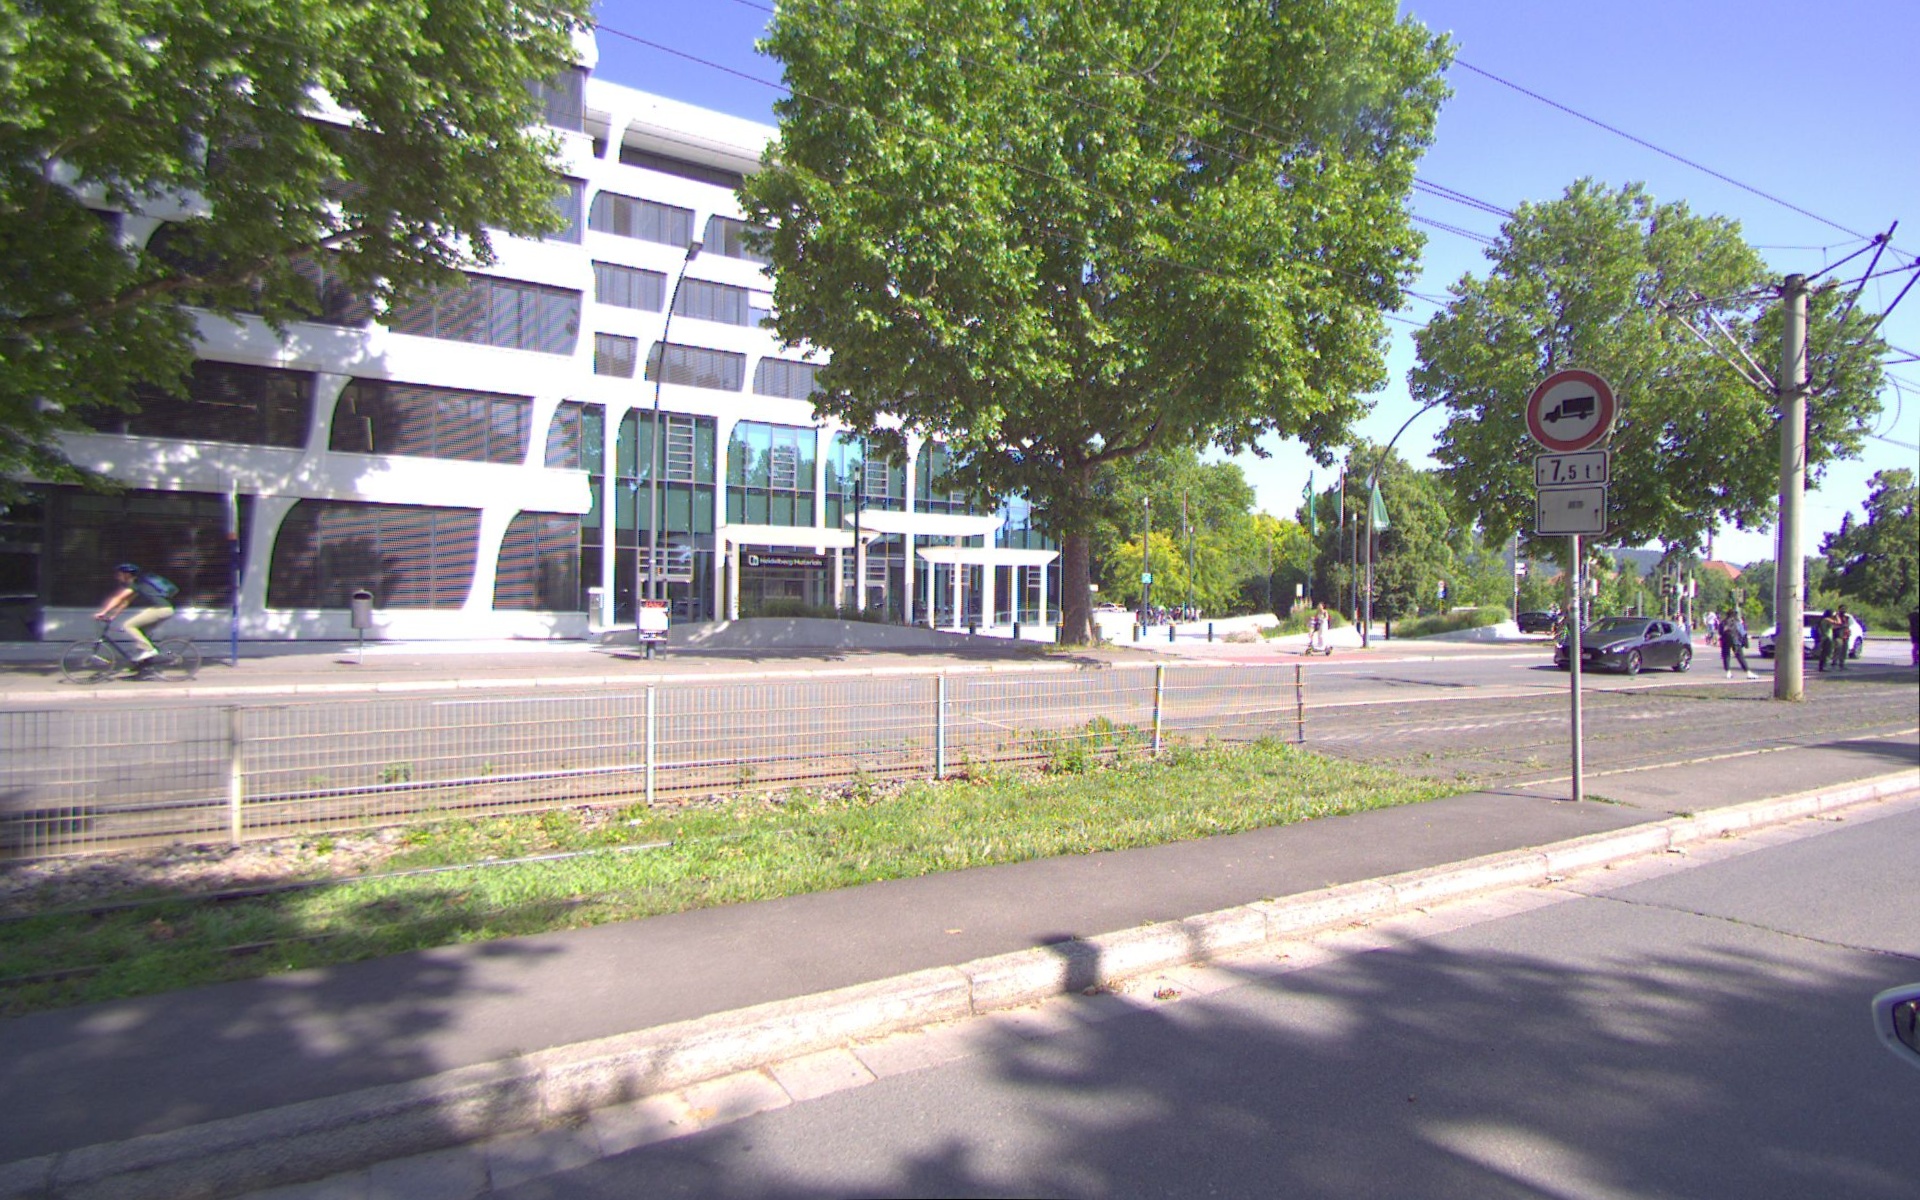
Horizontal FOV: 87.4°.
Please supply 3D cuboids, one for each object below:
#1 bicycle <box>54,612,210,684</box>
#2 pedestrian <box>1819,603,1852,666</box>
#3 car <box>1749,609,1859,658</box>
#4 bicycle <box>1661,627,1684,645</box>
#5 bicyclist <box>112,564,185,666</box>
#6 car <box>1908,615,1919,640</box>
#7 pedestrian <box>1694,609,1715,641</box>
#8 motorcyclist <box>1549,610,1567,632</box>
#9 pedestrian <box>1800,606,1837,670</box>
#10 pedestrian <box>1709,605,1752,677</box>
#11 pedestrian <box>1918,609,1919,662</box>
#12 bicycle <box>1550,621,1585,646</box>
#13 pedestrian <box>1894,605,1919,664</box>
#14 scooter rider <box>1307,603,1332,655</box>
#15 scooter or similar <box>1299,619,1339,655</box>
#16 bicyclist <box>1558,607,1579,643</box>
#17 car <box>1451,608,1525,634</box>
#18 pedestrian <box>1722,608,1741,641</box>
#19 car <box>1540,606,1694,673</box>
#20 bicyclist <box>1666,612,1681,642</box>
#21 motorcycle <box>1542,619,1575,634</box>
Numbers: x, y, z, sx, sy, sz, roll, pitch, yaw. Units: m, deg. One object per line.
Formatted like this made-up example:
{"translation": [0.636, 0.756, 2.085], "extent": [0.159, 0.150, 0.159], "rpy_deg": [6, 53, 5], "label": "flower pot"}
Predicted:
{"translation": [-13.424, 0.756, 16.350], "extent": [1.861, 1.109, 0.664], "rpy_deg": [1, 0, -30], "label": "bicycle"}
{"translation": [23.840, 0.938, 27.350], "extent": [0.636, 1.702, 0.490], "rpy_deg": [1, 0, -30], "label": "pedestrian"}
{"translation": [29.527, 1.143, 35.112], "extent": [3.814, 1.630, 1.755], "rpy_deg": [1, 0, -30], "label": "car"}
{"translation": [31.537, 1.585, 44.452], "extent": [1.132, 0.758, 0.418], "rpy_deg": [1, 0, -30], "label": "bicycle"}
{"translation": [-13.263, 0.239, 16.434], "extent": [0.828, 1.625, 0.572], "rpy_deg": [1, 0, -30], "label": "bicyclist"}
{"translation": [62.108, 1.772, 63.741], "extent": [3.899, 1.539, 1.821], "rpy_deg": [1, 0, -30], "label": "car"}
{"translation": [36.759, 1.239, 49.609], "extent": [0.637, 1.562, 0.619], "rpy_deg": [1, 0, -31], "label": "pedestrian"}
{"translation": [36.637, 1.270, 61.513], "extent": [0.597, 1.332, 0.749], "rpy_deg": [1, 0, -30], "label": "motorcyclist"}
{"translation": [22.935, 1.011, 26.831], "extent": [0.548, 1.668, 0.590], "rpy_deg": [1, 0, -30], "label": "pedestrian"}
{"translation": [18.250, 0.957, 23.801], "extent": [0.747, 1.645, 0.593], "rpy_deg": [1, 0, 35], "label": "pedestrian"}
{"translation": [29.630, 1.094, 30.502], "extent": [0.567, 1.619, 0.537], "rpy_deg": [1, 0, -11], "label": "pedestrian"}
{"translation": [24.171, 1.336, 39.955], "extent": [1.635, 0.974, 0.482], "rpy_deg": [1, 0, -30], "label": "bicycle"}
{"translation": [28.869, 1.023, 30.301], "extent": [0.743, 1.757, 0.773], "rpy_deg": [1, 0, -22], "label": "pedestrian"}
{"translation": [11.573, 0.918, 32.321], "extent": [0.559, 1.653, 0.504], "rpy_deg": [1, 0, -30], "label": "scooter rider"}
{"translation": [11.543, 1.168, 32.312], "extent": [1.233, 1.127, 0.545], "rpy_deg": [1, 0, -30], "label": "scooter or similar"}
{"translation": [24.222, 0.989, 39.996], "extent": [0.585, 1.435, 0.477], "rpy_deg": [1, 0, -31], "label": "bicyclist"}
{"translation": [33.509, 1.303, 63.786], "extent": [1.748, 1.569, 3.830], "rpy_deg": [1, 0, -29], "label": "car"}
{"translation": [36.458, 1.140, 47.460], "extent": [0.613, 1.562, 0.781], "rpy_deg": [1, 0, 31], "label": "pedestrian"}
{"translation": [17.538, 1.011, 26.788], "extent": [3.953, 1.630, 1.862], "rpy_deg": [1, 0, -30], "label": "car"}
{"translation": [31.569, 1.203, 44.460], "extent": [0.460, 1.329, 0.383], "rpy_deg": [1, 0, -30], "label": "bicyclist"}
{"translation": [36.632, 1.626, 61.505], "extent": [0.642, 0.903, 1.636], "rpy_deg": [1, 0, -30], "label": "motorcycle"}
